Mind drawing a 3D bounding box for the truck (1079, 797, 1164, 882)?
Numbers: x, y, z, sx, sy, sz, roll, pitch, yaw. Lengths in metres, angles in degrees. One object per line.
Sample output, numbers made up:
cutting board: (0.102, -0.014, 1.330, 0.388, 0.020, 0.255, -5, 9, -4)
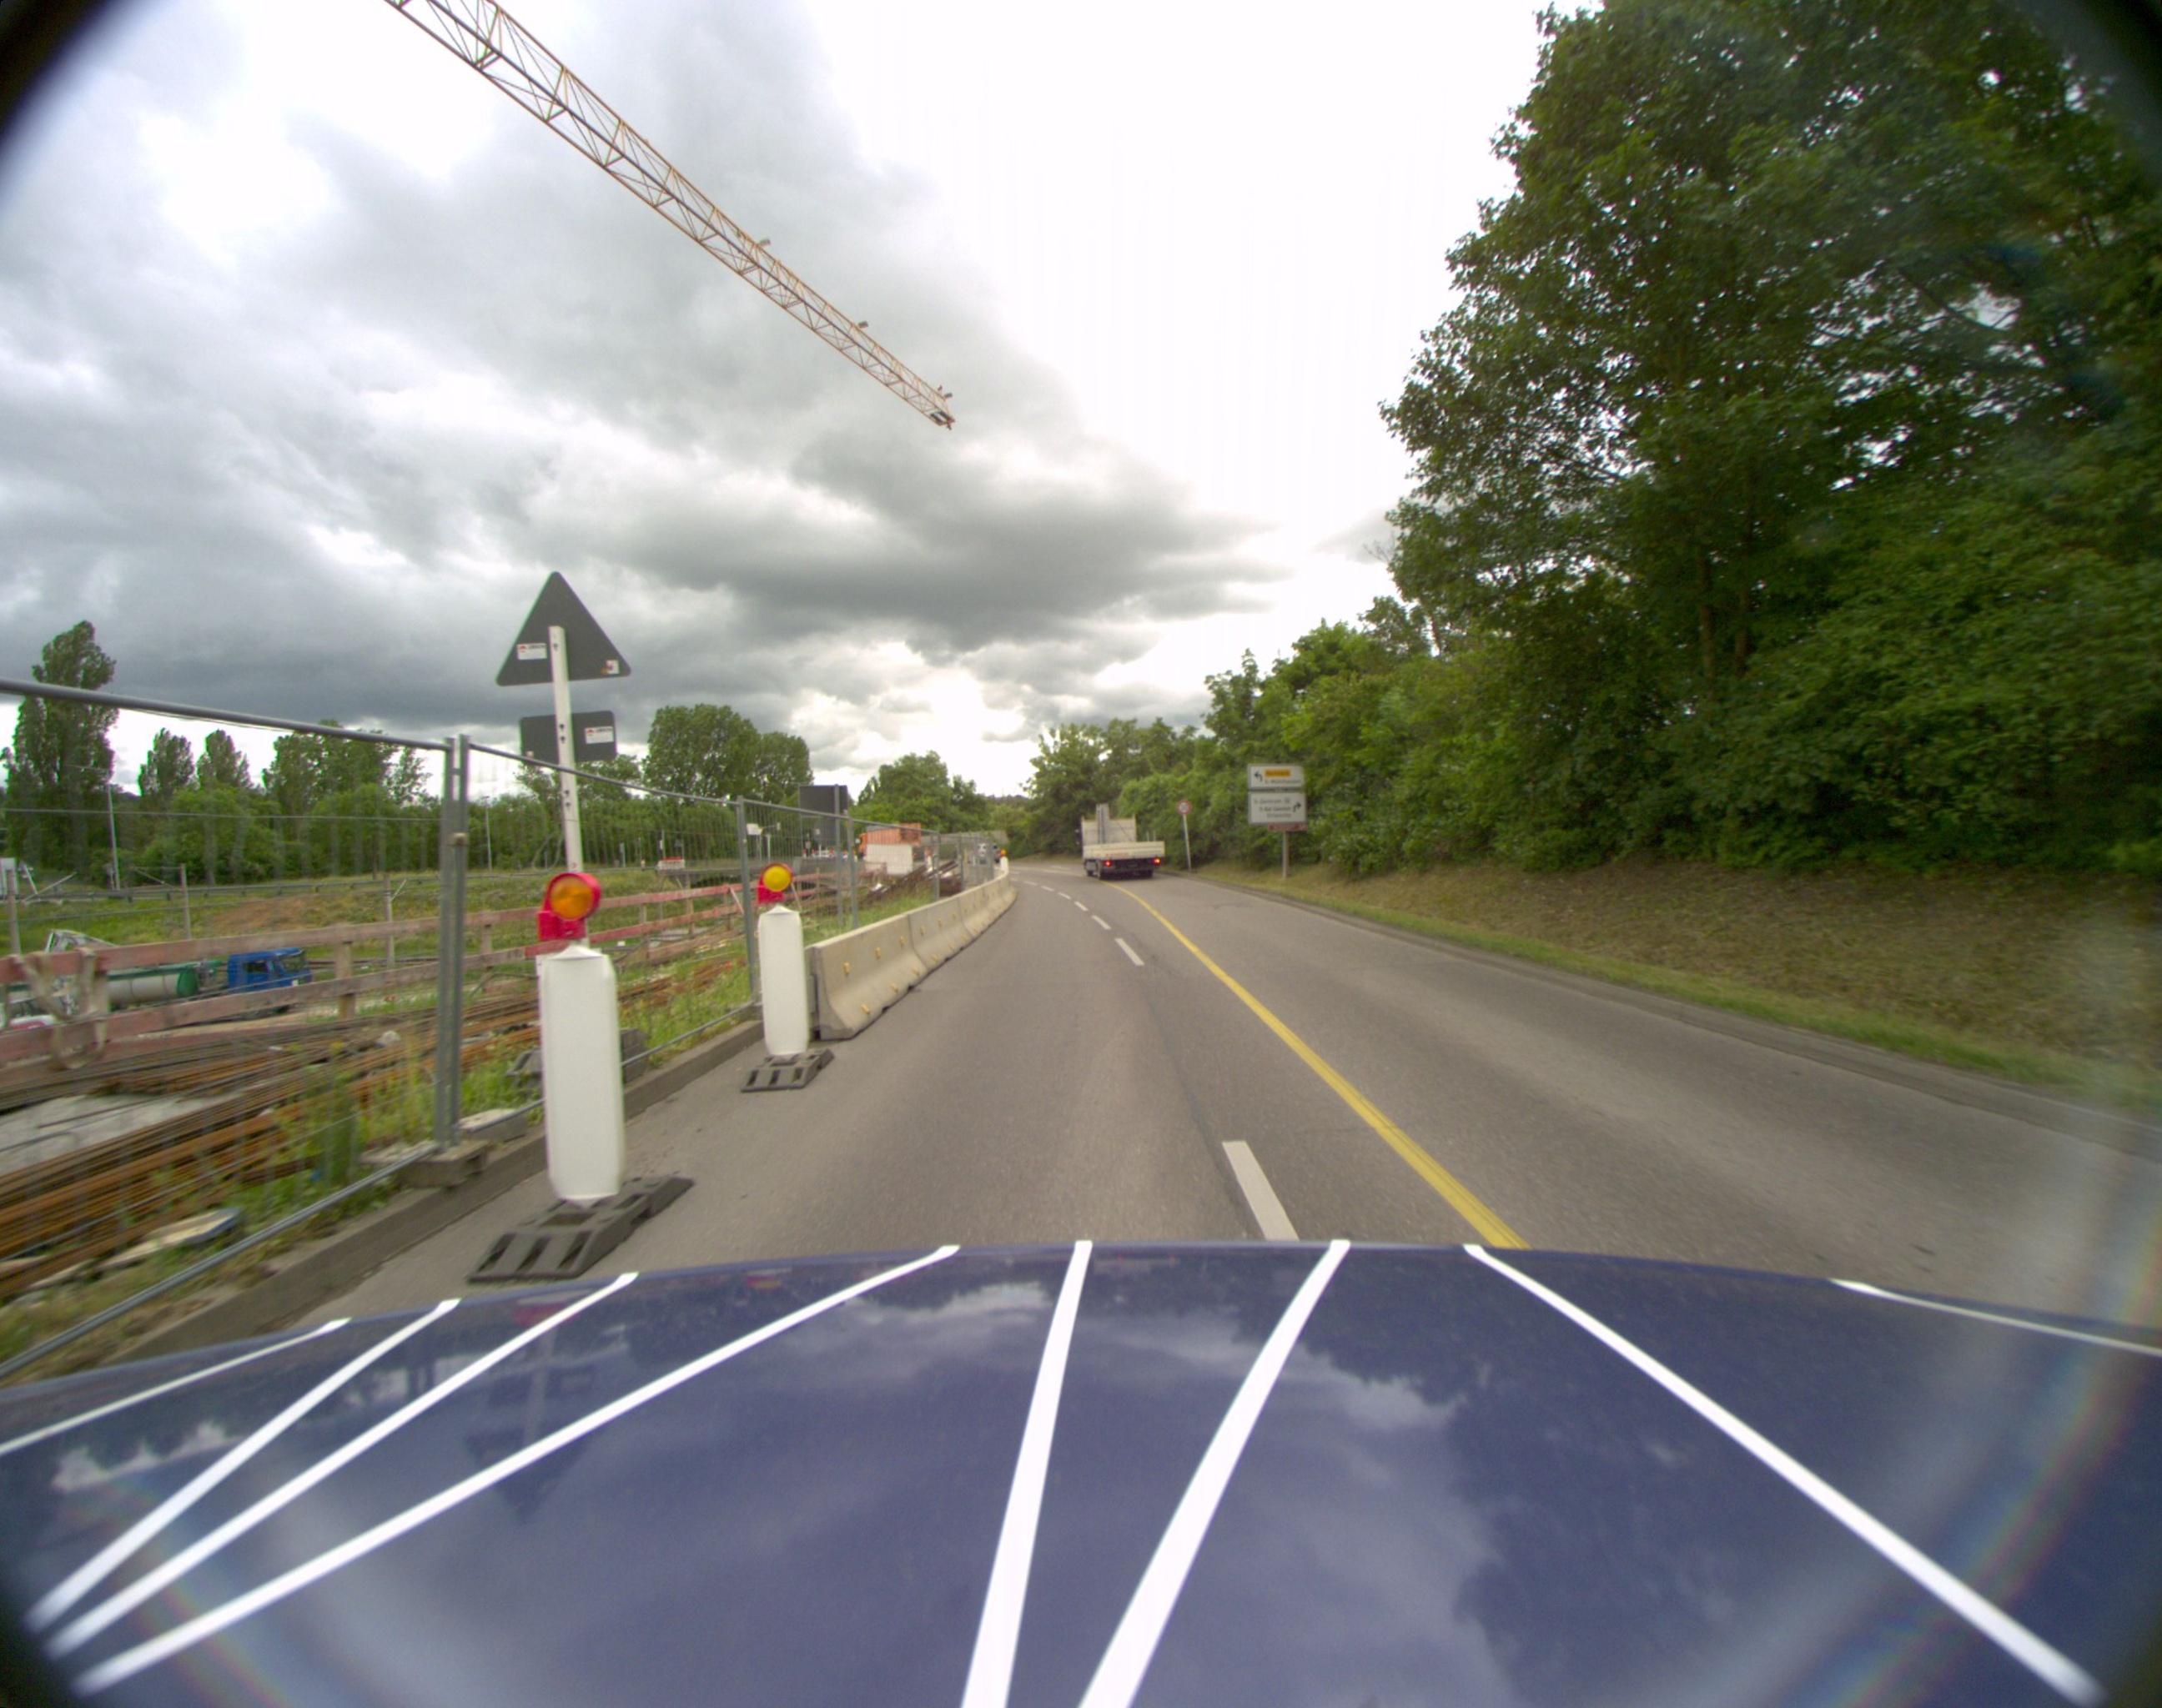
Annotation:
truck: (1.603, -0.663, 33.988, 2.759, 3.240, 7.606, -3, 2, -4)

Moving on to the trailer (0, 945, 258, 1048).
trailer: (-49.284, 7.212, 38.982, 9.148, 3.742, 2.414, -5, 2, -21)

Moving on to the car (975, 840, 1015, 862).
car: (-7.067, -0.240, 61.927, 1.897, 1.554, 4.091, -4, 2, -26)

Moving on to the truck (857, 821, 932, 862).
truck: (-19.310, -1.205, 78.119, 3.046, 3.876, 9.975, -5, 2, -41)

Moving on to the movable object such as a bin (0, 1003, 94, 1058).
movable object such as a bin: (-47.120, 7.922, 34.210, 1.998, 1.818, 2.443, -3, 2, 0)

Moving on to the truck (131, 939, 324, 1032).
truck: (-45.259, 6.882, 40.560, 6.136, 3.742, 2.414, -5, 2, -21)
